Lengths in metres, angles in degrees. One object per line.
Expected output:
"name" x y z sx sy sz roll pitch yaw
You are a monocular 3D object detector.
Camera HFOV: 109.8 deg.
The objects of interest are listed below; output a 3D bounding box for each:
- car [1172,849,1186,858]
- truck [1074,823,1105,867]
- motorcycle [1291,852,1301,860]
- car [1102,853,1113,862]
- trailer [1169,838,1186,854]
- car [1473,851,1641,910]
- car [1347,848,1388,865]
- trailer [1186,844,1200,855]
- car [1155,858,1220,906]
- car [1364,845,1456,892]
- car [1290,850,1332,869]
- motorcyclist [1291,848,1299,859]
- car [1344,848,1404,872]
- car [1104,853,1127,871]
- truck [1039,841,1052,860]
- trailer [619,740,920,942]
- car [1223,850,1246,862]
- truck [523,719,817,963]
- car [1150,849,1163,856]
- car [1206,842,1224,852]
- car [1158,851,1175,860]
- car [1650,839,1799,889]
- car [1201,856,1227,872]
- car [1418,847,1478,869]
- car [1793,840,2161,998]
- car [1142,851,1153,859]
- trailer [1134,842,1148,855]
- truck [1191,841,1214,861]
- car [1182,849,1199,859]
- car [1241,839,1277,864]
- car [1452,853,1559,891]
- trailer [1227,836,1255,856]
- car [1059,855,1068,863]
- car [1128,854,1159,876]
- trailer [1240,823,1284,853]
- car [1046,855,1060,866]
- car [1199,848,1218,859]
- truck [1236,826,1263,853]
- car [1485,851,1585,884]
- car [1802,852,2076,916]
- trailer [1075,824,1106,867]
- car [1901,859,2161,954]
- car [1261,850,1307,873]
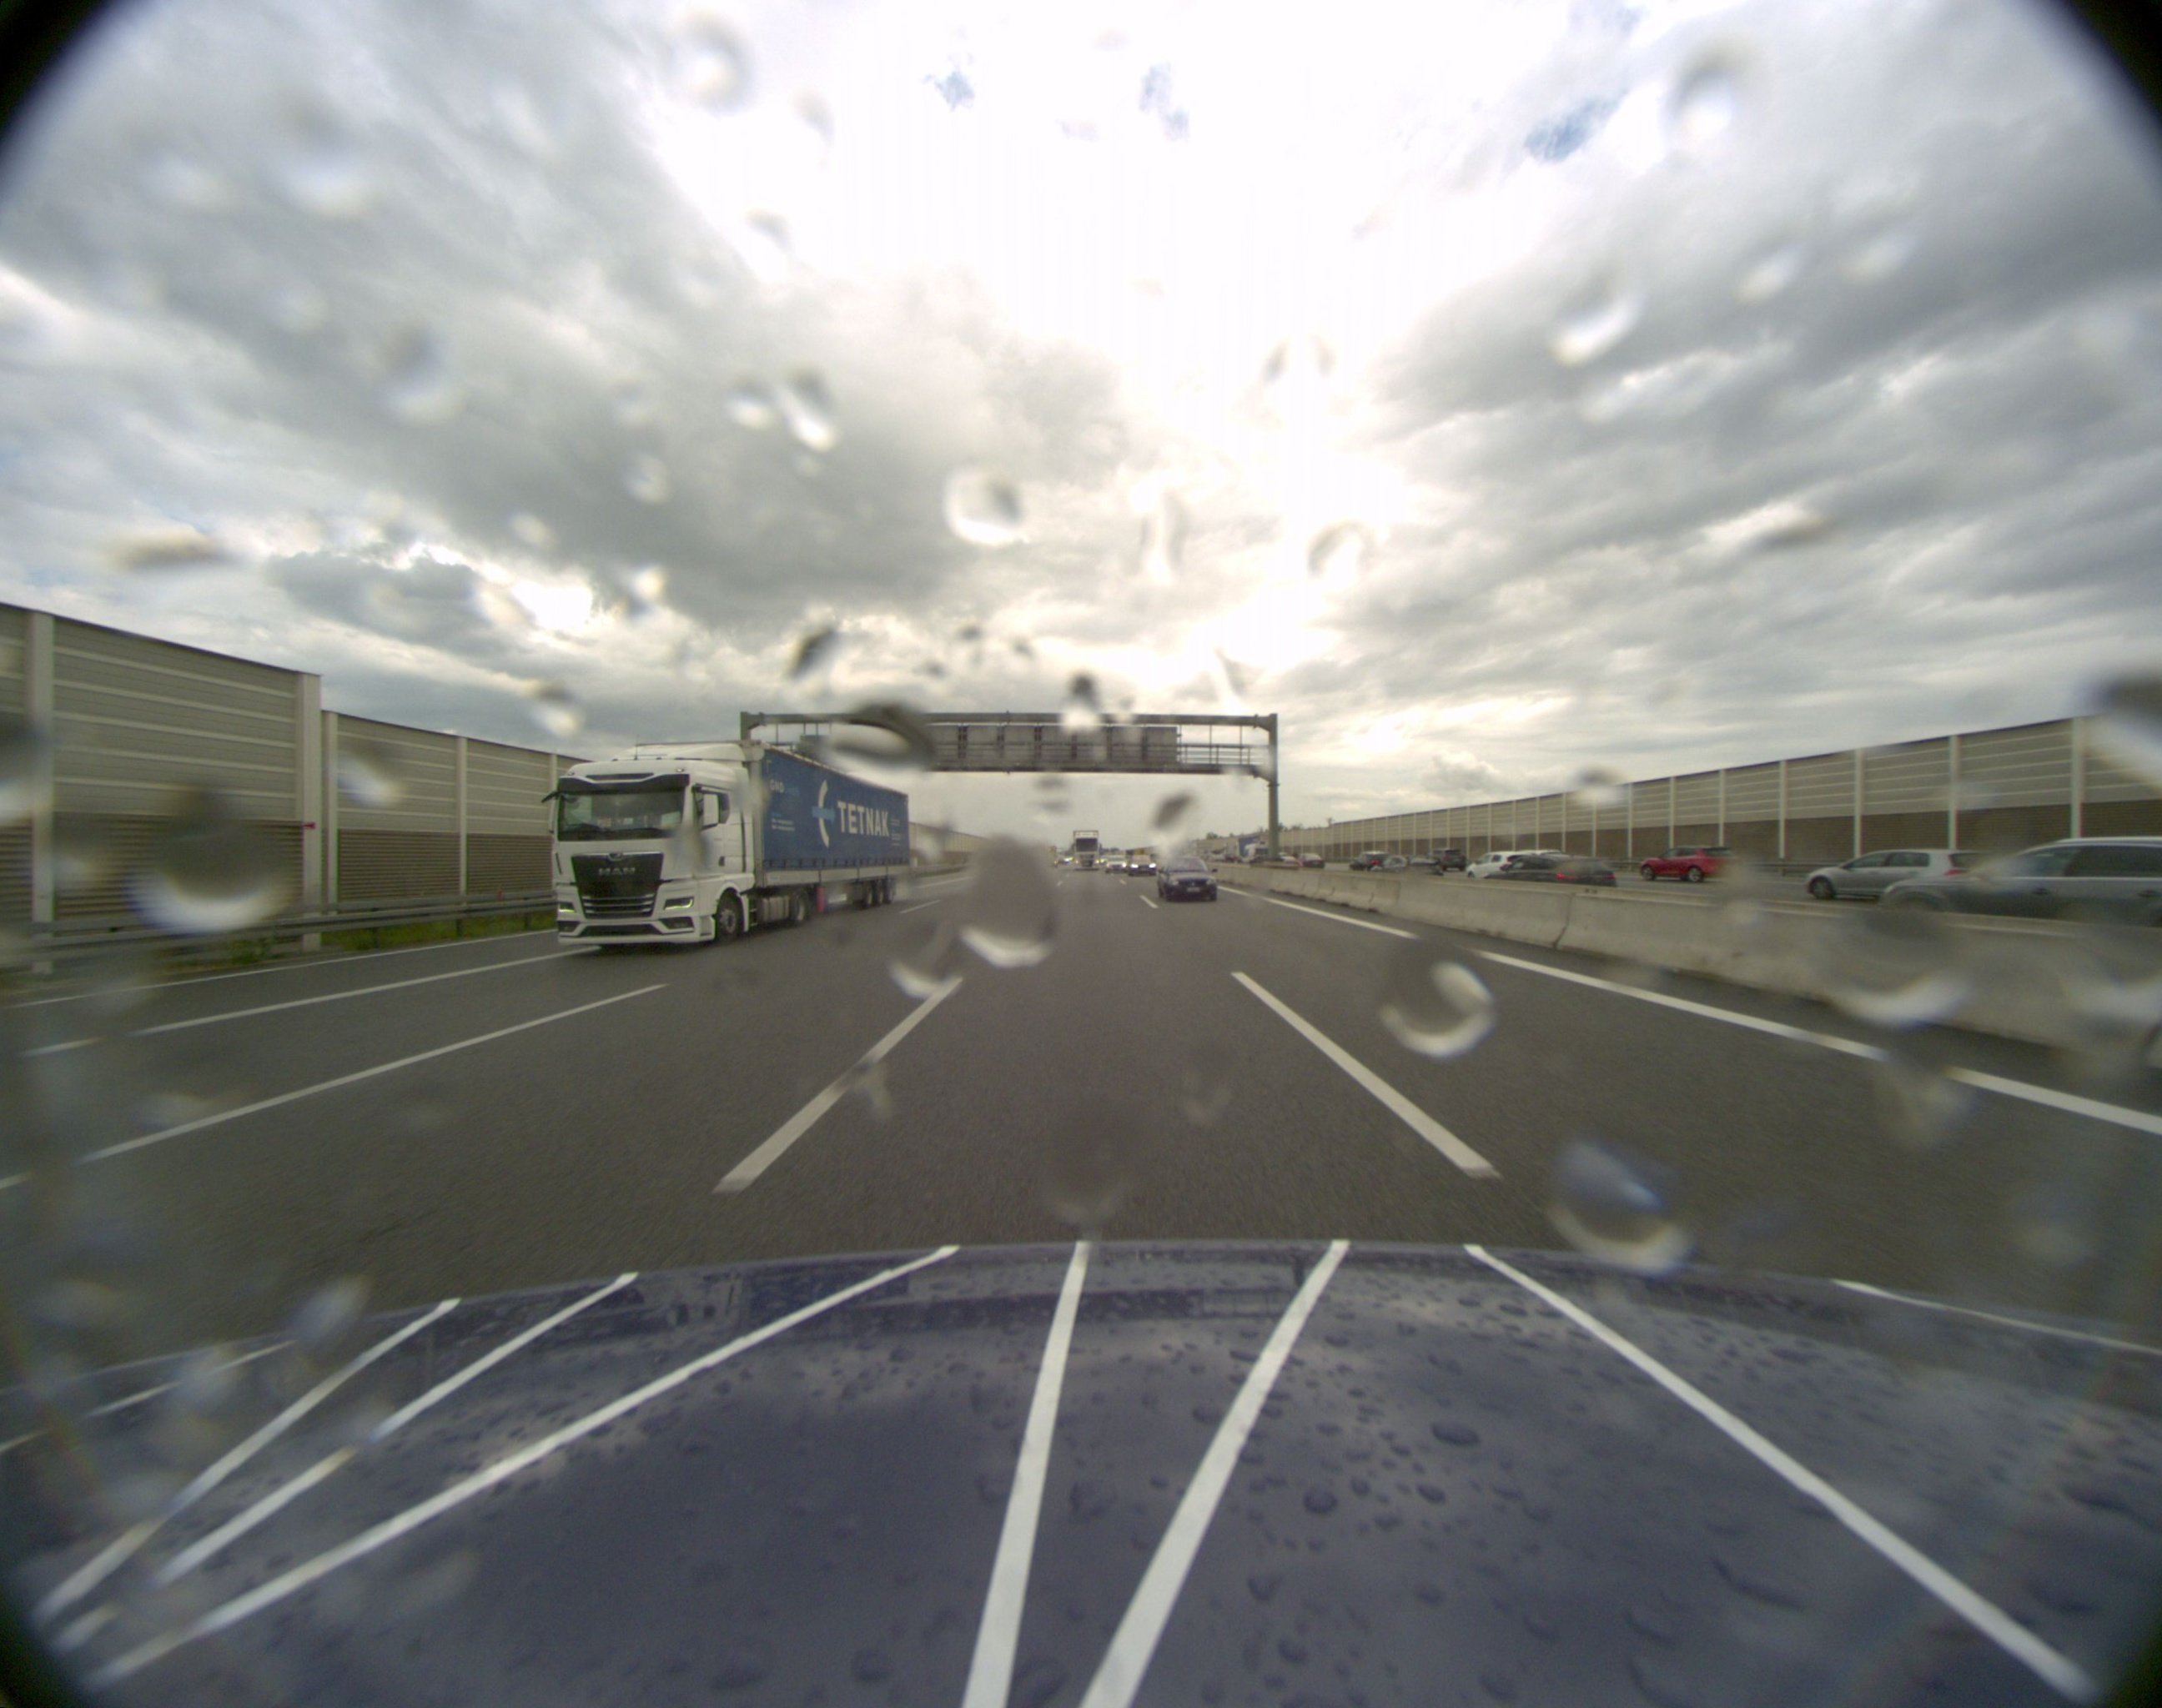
"car" 18.867 -0.129 146.144 1.878 1.689 5.015 -1 0 -1
"truck" 0.947 -0.891 77.800 2.913 4.146 5.193 -2 0 2
"motorcycle" 26.087 0.237 92.391 0.519 1.001 2.431 -2 0 0
"car" 4.255 0.594 122.138 1.498 1.395 3.999 -1 0 -1
"trailer" 25.703 -2.114 203.279 2.768 4.008 14.451 -1 0 0
"car" 14.158 0.704 23.031 2.065 1.525 4.997 -1 1 2
"car" 26.936 0.192 71.575 2.065 1.482 4.997 -1 1 2
"trailer" 26.155 -1.056 177.775 2.465 2.480 6.085 -1 0 0
"car" 3.409 0.844 24.978 1.578 1.395 4.000 -1 0 0
"car" 14.466 0.568 33.766 2.065 1.869 4.997 -1 1 2
"car" 19.087 0.396 63.242 2.065 1.482 4.997 -1 1 2
"motorcyclist" 26.065 -0.058 92.533 0.638 1.217 0.796 -2 0 0
"car" 18.975 0.347 49.410 2.065 1.482 4.997 -1 1 2
"car" 2.907 0.638 63.822 1.732 1.395 4.000 -1 0 0
"truck" -7.903 -0.728 169.726 2.600 4.088 11.368 -1 0 -3
"trailer" -7.778 -0.272 22.490 2.768 4.008 14.452 -1 0 0
"car" 19.679 0.212 97.721 2.065 1.482 4.997 -1 1 2
"truck" -7.862 -0.215 15.563 2.752 4.011 5.725 -1 0 0
"car" 14.417 -0.208 145.316 1.878 1.291 5.599 -1 0 -1
"car" 22.070 -1.217 125.430 2.065 1.590 4.996 -1 1 0
"car" 13.756 0.219 122.476 2.066 1.482 4.996 -1 1 -1
"car" 26.547 0.350 31.642 2.065 1.869 4.997 -1 1 2
"car" 14.394 1.064 82.468 2.065 1.482 4.997 -1 1 2
"car" 26.521 0.281 55.113 2.065 1.482 4.997 -1 1 2
"car" 14.027 0.752 10.772 2.065 1.869 6.328 -1 1 2
"car" 14.500 0.212 165.753 1.878 1.689 4.221 -1 0 -1
"trailer" 19.802 -1.852 251.448 2.768 4.008 14.449 -1 0 -2
"truck" 22.702 -0.557 142.394 2.703 3.506 9.995 -2 0 1
"car" 18.736 0.002 129.855 2.065 1.590 4.996 -1 1 0
"car" 18.902 -0.314 81.066 2.389 2.535 7.086 -1 1 2
"car" 18.688 0.741 33.745 2.065 1.482 4.997 -1 1 2
"trailer" 33.416 -1.620 159.356 2.943 4.008 13.859 -1 0 0
"car" -3.158 0.855 135.182 1.498 1.395 3.999 -1 0 -1
"car" 4.345 0.731 53.521 1.776 1.451 4.480 -1 0 0
"trailer" 26.065 -2.221 110.568 2.768 4.008 14.451 -1 0 -1
"car" -3.674 0.875 100.358 1.698 1.395 3.999 -1 0 -1
"car" 18.756 -0.058 112.152 2.065 1.482 4.997 -1 1 2
"truck" 25.989 -2.240 117.460 2.752 4.011 5.725 -1 0 0
"car" 22.306 0.608 37.636 2.065 1.482 4.997 -1 1 2
"car" 21.908 0.689 19.767 2.065 1.408 4.523 -1 1 2
"trailer" 1.111 -0.851 81.245 2.925 4.188 13.197 -2 0 1
"car" 18.286 0.849 13.750 2.065 1.408 4.523 -1 1 2
"car" 14.580 0.495 54.834 2.065 1.482 4.997 -1 1 2
